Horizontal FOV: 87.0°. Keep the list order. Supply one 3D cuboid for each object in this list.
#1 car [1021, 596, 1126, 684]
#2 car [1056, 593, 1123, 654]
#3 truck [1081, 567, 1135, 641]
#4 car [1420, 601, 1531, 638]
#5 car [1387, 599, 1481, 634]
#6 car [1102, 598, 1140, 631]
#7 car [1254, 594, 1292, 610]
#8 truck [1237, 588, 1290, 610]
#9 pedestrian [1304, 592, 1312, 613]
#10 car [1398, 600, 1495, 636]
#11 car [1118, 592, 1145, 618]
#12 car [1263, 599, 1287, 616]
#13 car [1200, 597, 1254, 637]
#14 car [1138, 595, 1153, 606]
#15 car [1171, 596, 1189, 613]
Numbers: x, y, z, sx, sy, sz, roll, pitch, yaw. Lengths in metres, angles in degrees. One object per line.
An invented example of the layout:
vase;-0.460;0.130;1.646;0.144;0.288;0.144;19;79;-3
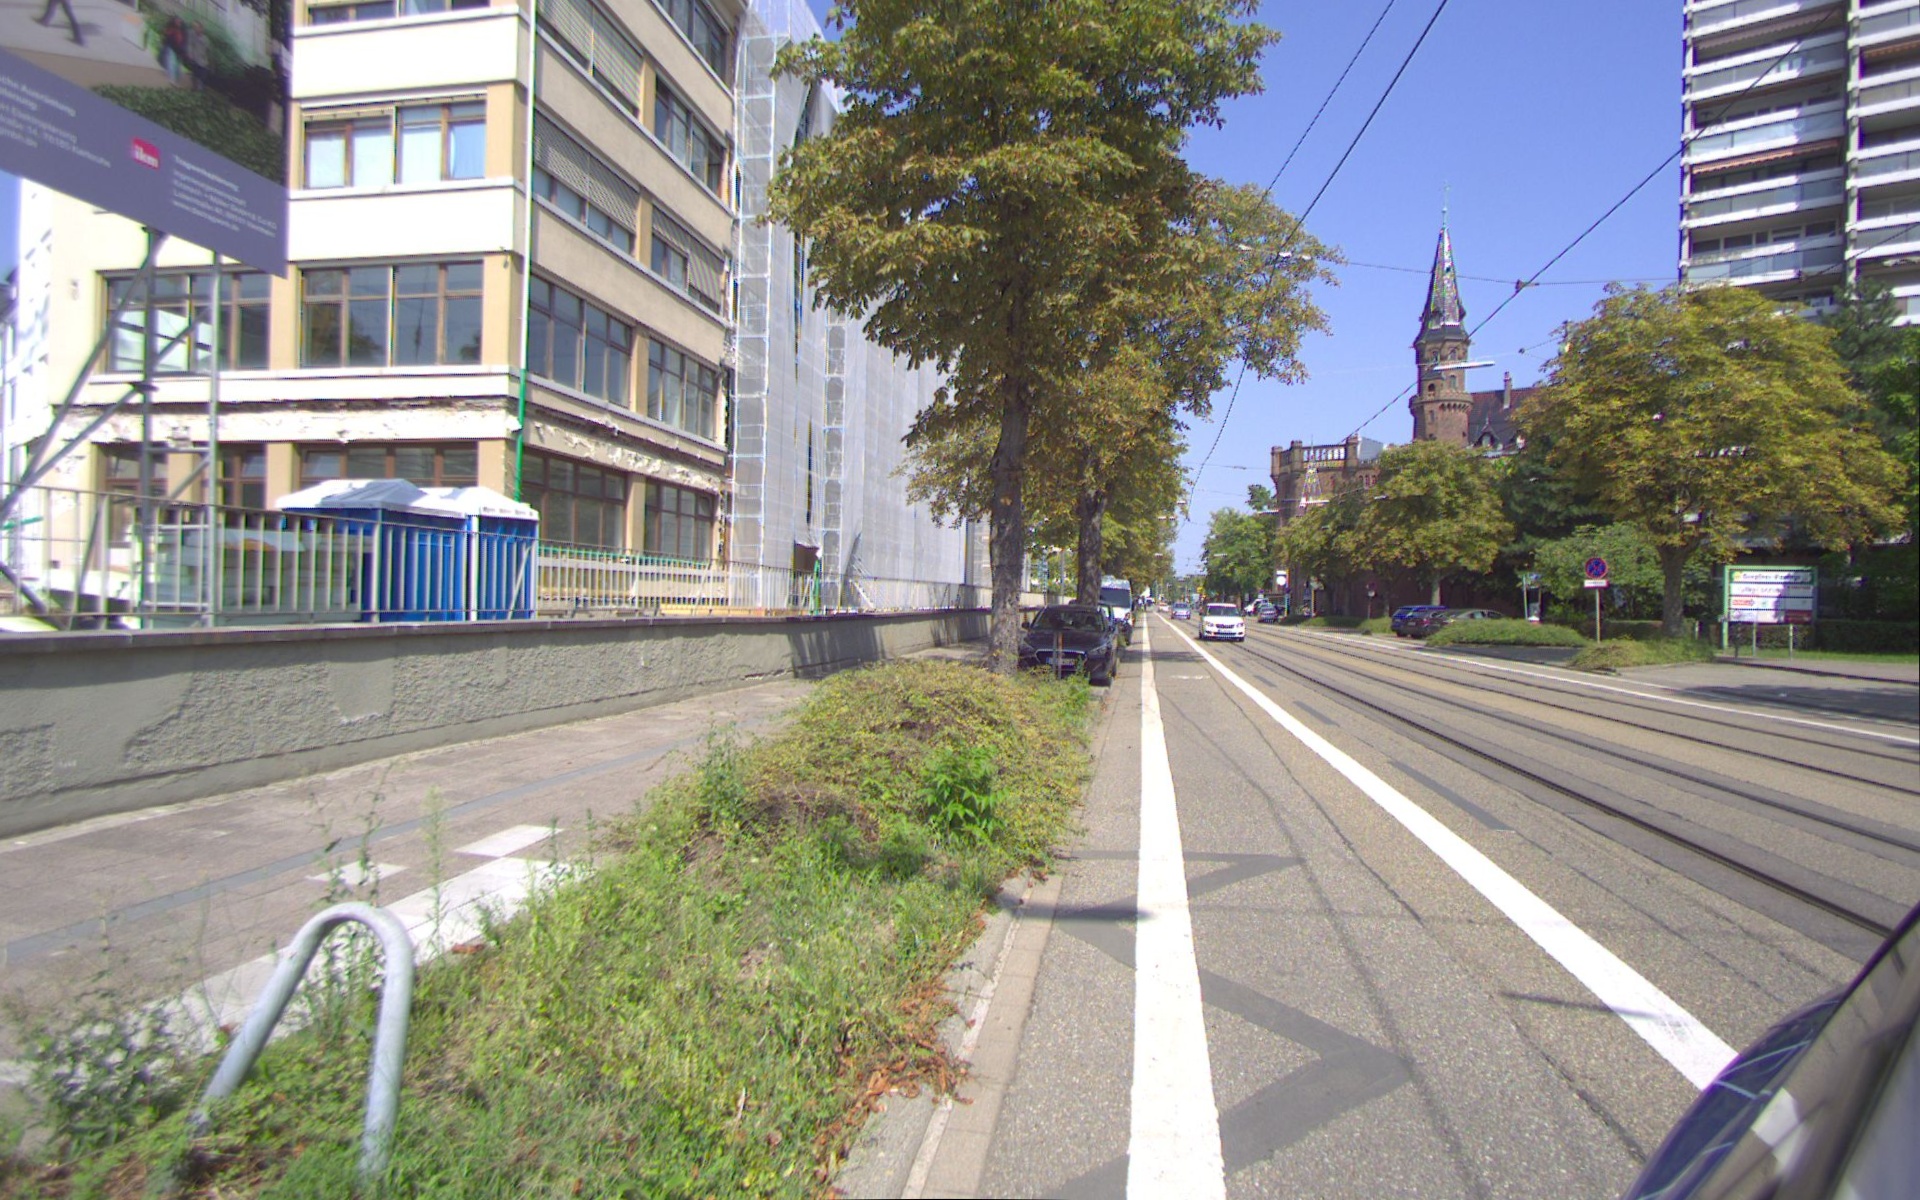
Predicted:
car;2.365;0.695;20.107;1.653;1.476;4.648;2;0;11
car;3.920;0.635;30.199;1.653;1.599;4.158;3;1;11
truck;5.792;0.106;39.178;1.892;2.631;5.576;1;1;10
car;22.685;0.860;44.579;4.205;1.516;1.784;1;0;-14
car;23.846;0.813;50.951;3.917;1.669;1.845;1;0;-11
car;7.963;0.660;49.807;1.664;1.458;4.787;1;1;11
car;39.517;0.250;127.753;4.346;1.821;1.991;-3;-1;14
truck;40.034;-0.069;133.748;6.414;2.557;2.309;-3;-1;12
pedestrian;33.310;0.269;96.975;0.509;2.005;0.505;1;0;-34
car;22.960;0.829;47.792;3.916;1.590;1.784;1;0;-15
car;11.821;0.338;69.739;1.739;1.710;4.635;1;0;10
car;30.191;0.705;97.096;1.912;1.521;4.495;1;0;13
car;10.693;0.635;40.781;1.797;1.511;4.005;1;0;11
car;27.224;0.112;148.348;1.969;1.549;3.986;1;0;12
car;21.294;0.391;98.049;1.652;1.504;3.766;2;1;11
